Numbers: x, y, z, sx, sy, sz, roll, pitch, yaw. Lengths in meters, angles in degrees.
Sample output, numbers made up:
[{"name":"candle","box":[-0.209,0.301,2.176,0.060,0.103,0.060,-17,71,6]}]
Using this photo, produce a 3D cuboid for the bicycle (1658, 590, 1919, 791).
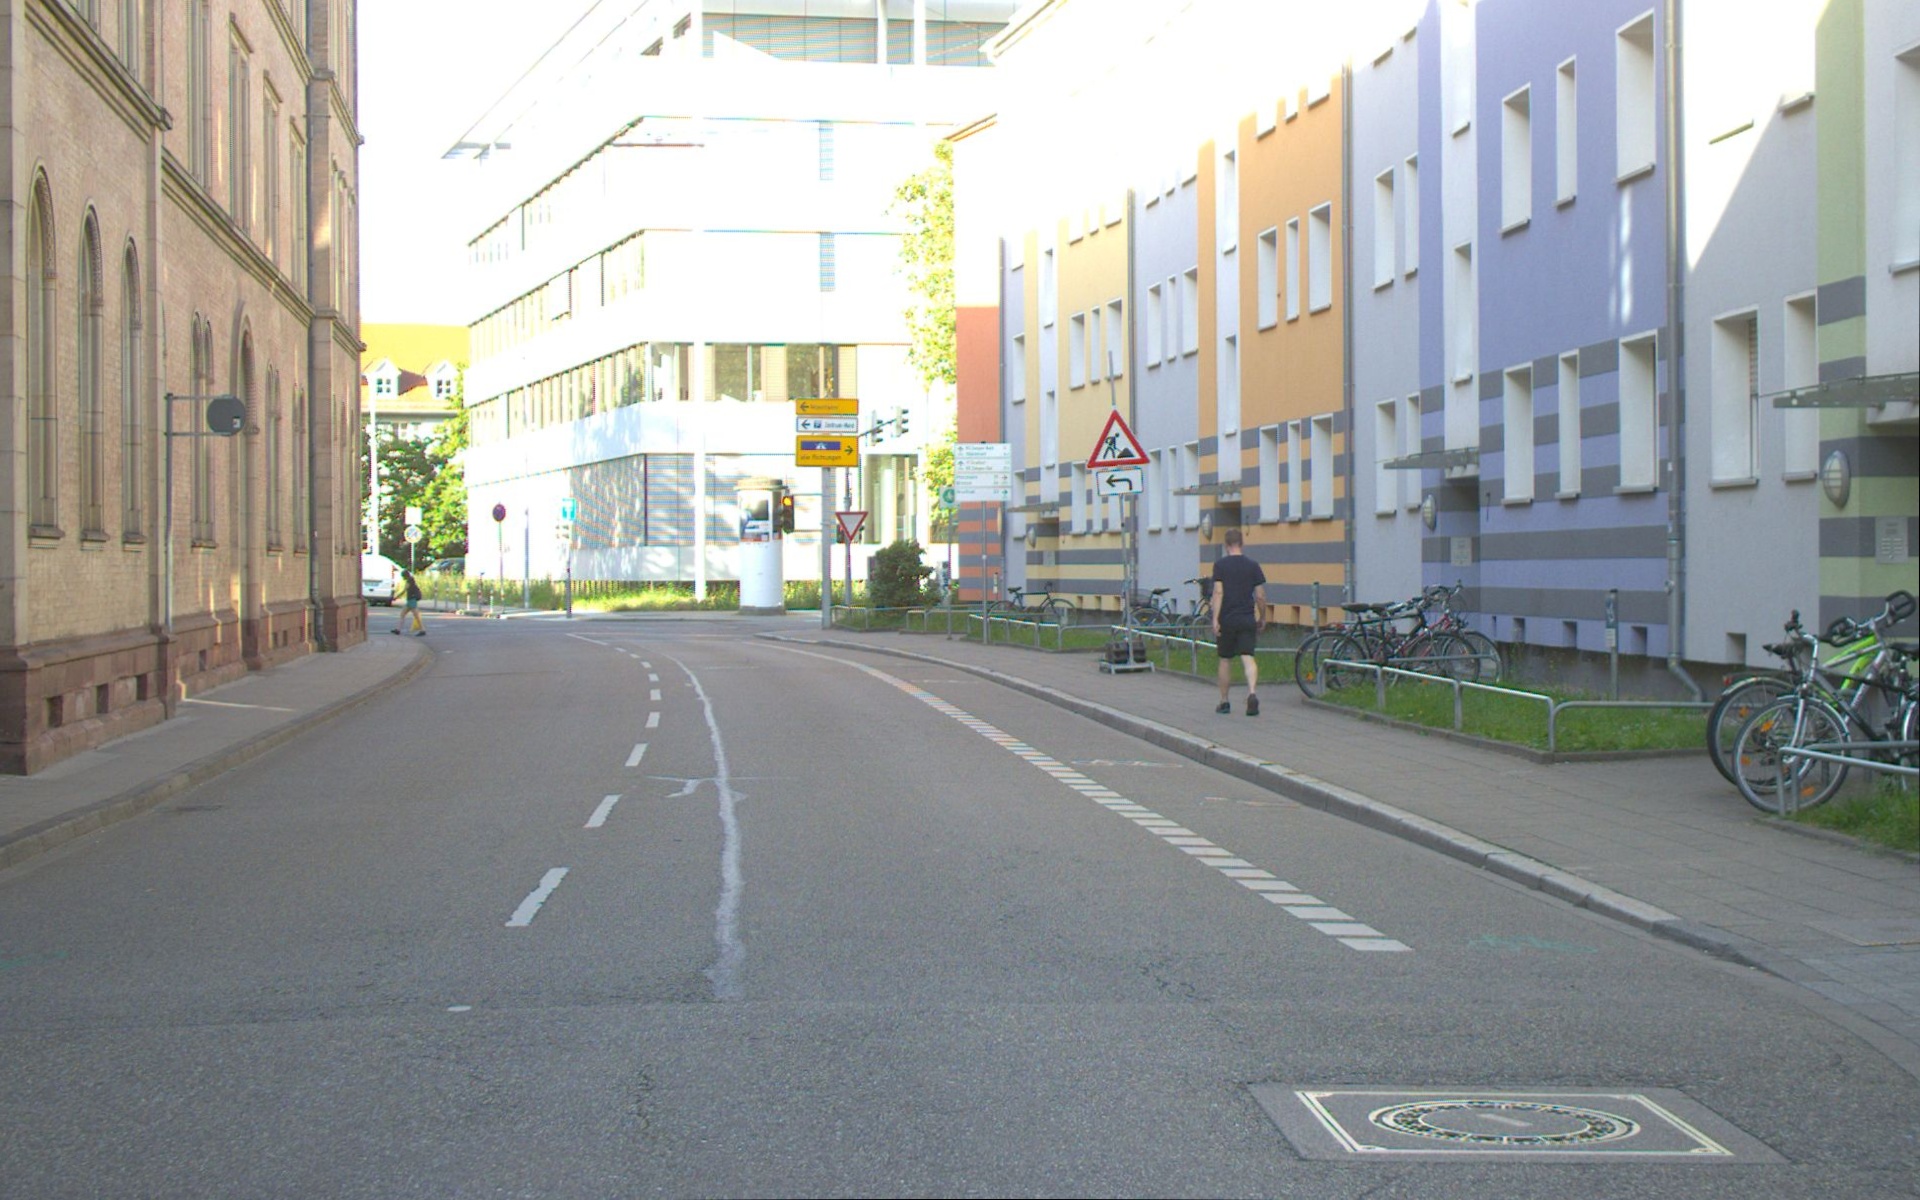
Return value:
[{"name":"bicycle","box":[5.182,0.554,21.452,1.602,1.137,0.237,-4,1,-12]}]

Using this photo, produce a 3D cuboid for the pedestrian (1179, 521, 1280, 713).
[{"name":"pedestrian","box":[2.547,0.152,32.579,0.696,1.754,1.189,-3,1,-4]}]

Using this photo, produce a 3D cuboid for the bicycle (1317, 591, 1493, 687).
[{"name":"bicycle","box":[4.587,0.398,35.463,1.748,0.943,0.326,-1,0,-3]}]

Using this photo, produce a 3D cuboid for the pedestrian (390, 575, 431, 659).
[{"name":"pedestrian","box":[-13.199,0.405,82.544,0.895,2.007,0.753,-1,0,-12]}]

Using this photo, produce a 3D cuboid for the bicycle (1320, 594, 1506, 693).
[{"name":"bicycle","box":[4.532,0.432,34.456,1.748,0.943,0.552,-1,0,-4]}]

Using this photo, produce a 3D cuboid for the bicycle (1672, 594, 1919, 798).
[{"name":"bicycle","box":[5.242,0.584,21.183,1.640,1.137,0.283,-4,1,-12]}]

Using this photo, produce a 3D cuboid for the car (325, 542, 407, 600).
[{"name":"car","box":[-22.721,-1.093,131.266,2.423,2.105,5.233,1,0,-17]}]

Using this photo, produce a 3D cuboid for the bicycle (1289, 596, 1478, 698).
[{"name":"bicycle","box":[4.146,0.458,33.685,1.748,0.943,0.552,-1,0,-4]}]

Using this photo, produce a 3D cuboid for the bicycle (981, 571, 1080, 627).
[{"name":"bicycle","box":[1.314,-0.019,64.472,1.753,1.000,0.613,-2,0,-9]}]

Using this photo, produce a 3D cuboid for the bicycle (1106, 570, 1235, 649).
[{"name":"bicycle","box":[3.090,0.136,50.423,1.810,1.133,0.552,-1,0,-6]}]

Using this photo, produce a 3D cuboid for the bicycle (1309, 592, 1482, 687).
[{"name":"bicycle","box":[4.558,0.411,35.973,1.748,0.943,0.335,-1,0,-4]}]

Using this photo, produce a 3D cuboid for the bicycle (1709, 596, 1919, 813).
[{"name":"bicycle","box":[5.282,0.576,19.795,1.748,1.137,0.552,-3,1,-4]}]
